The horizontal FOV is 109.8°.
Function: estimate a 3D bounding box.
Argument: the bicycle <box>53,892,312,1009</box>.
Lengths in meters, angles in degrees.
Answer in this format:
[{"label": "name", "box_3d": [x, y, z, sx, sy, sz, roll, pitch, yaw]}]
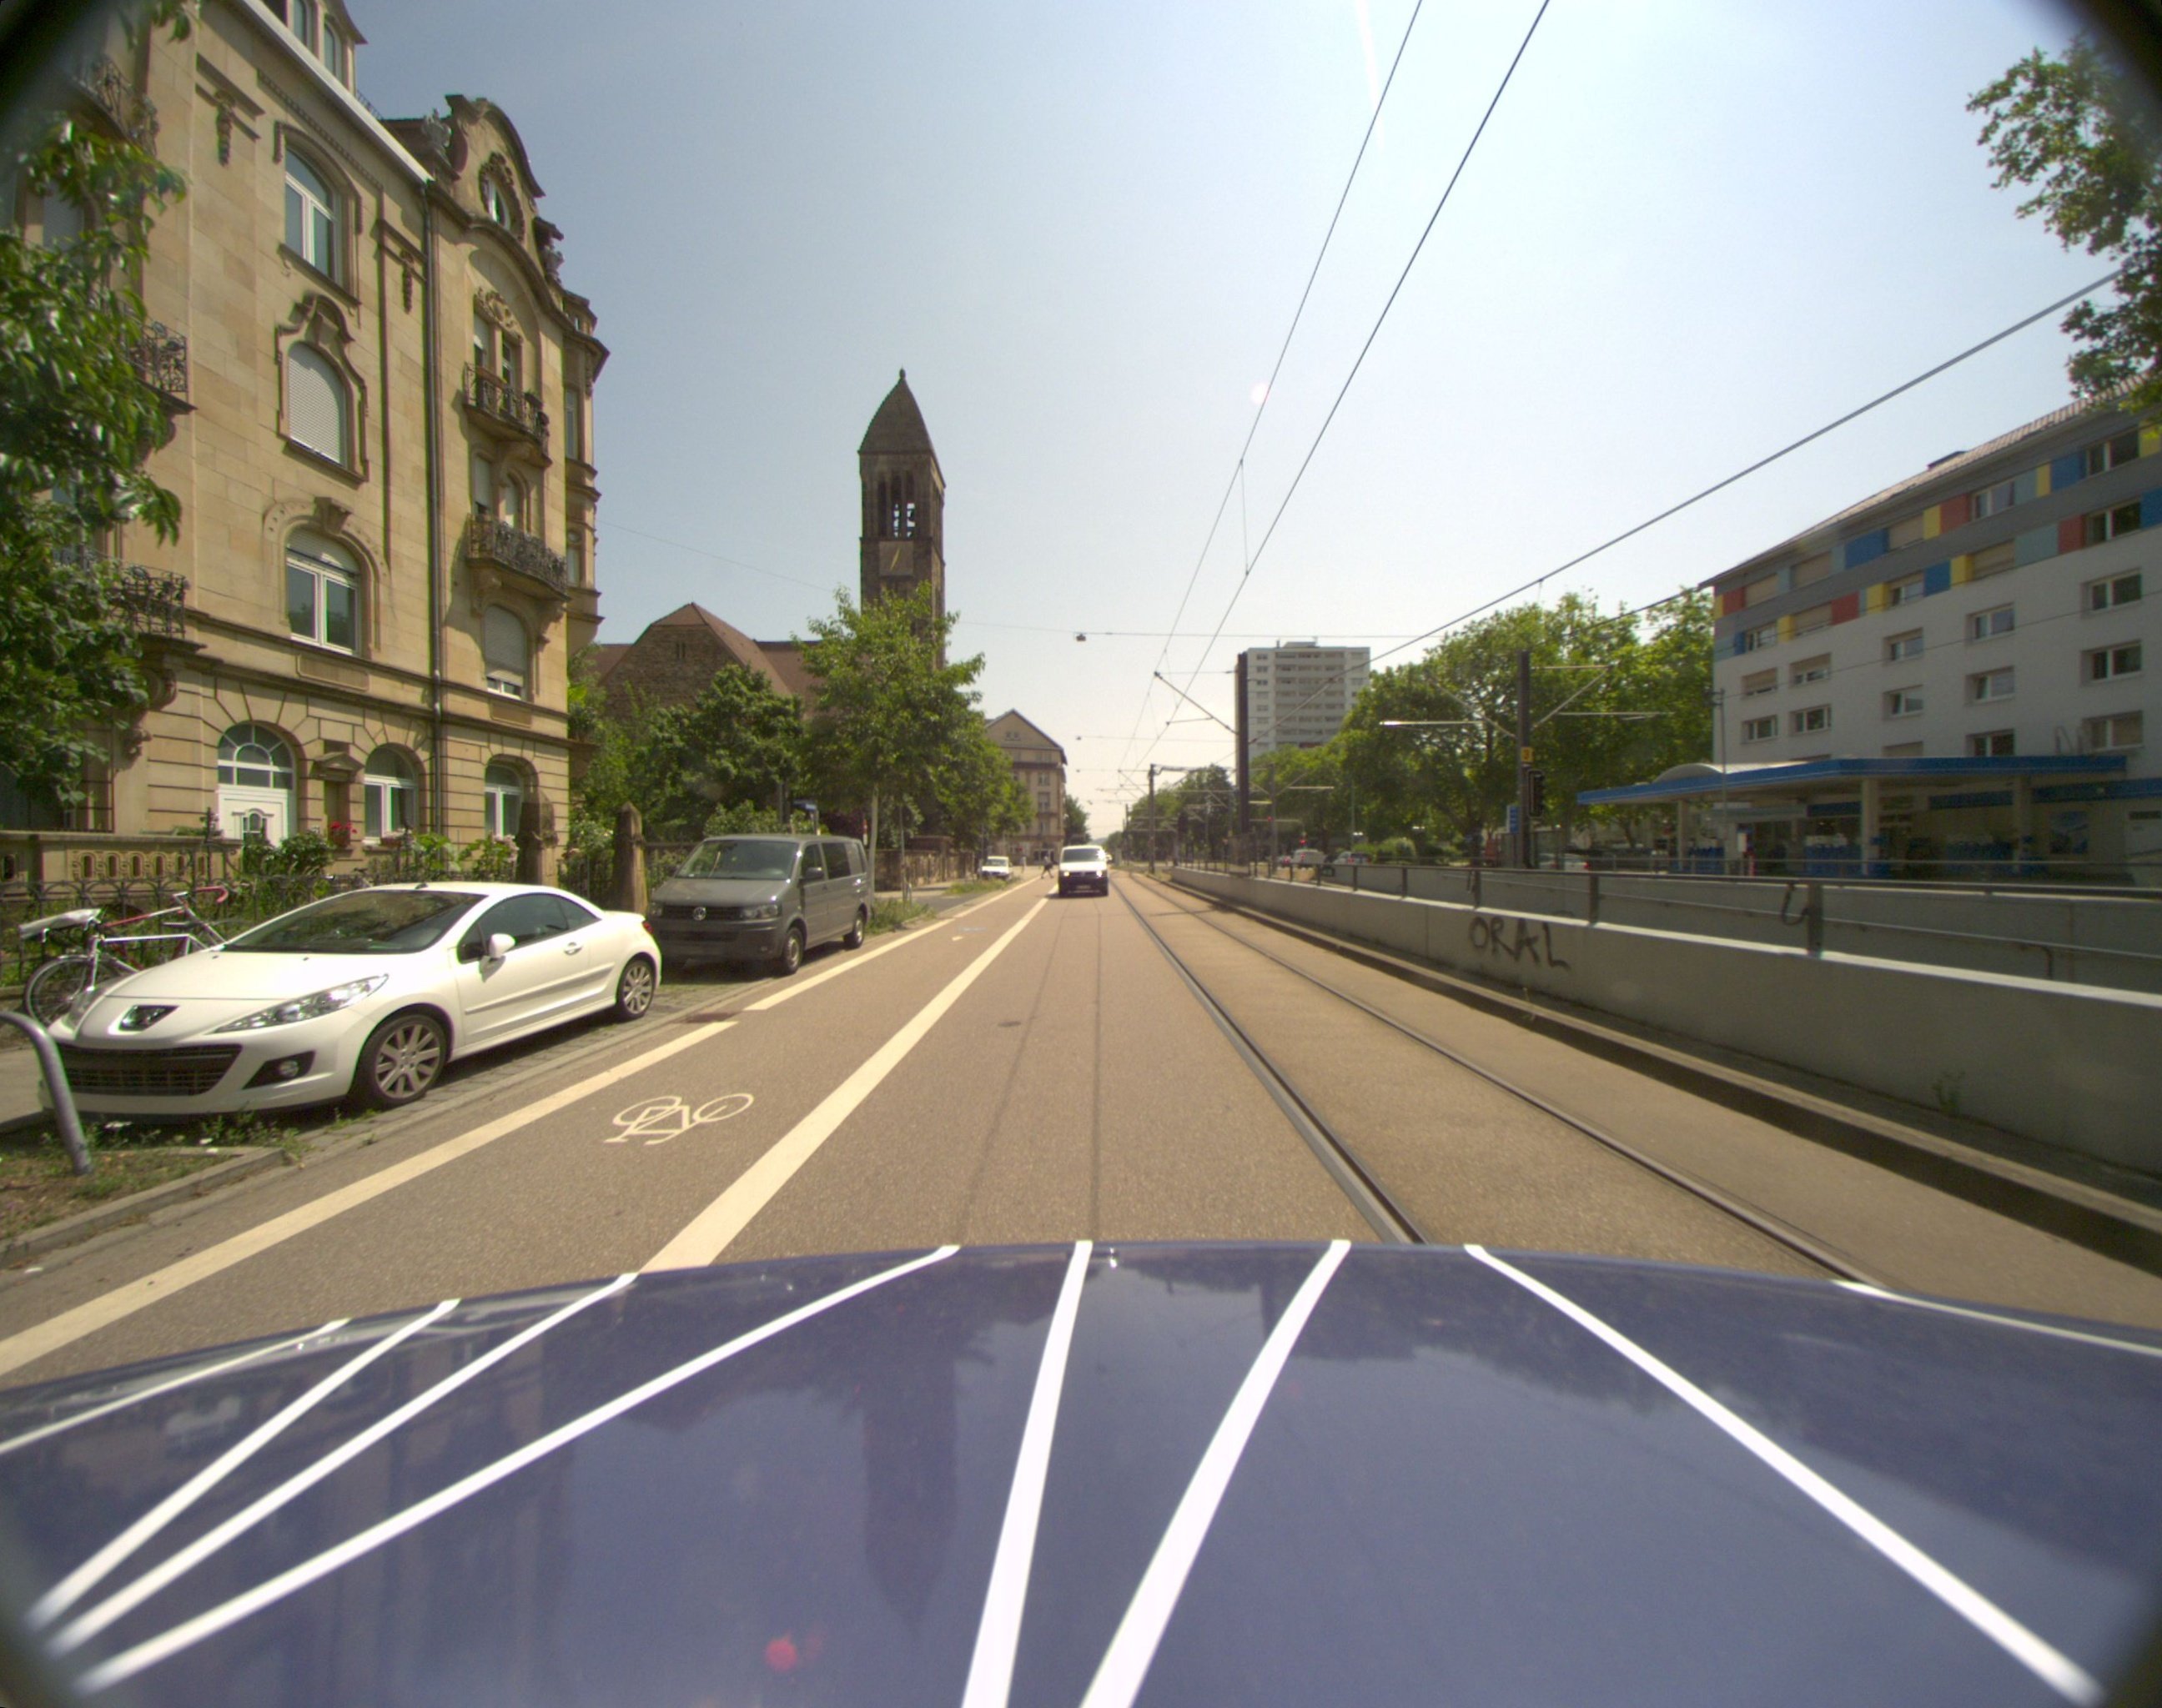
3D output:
[{"label": "bicycle", "box_3d": [-8.233, 0.840, 7.079, 0.441, 0.875, 1.635, -1, 0, 0]}]

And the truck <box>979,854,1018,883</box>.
[{"label": "truck", "box_3d": [-4.595, 0.758, 42.900, 1.794, 1.517, 4.464, -1, 0, -1]}]

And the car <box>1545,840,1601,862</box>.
[{"label": "car", "box_3d": [39.464, -0.221, 61.066, 1.998, 1.710, 4.000, -1, 0, 1]}]

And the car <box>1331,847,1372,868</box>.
[{"label": "car", "box_3d": [22.228, 0.274, 62.556, 1.851, 1.616, 4.602, 1, 0, 2]}]

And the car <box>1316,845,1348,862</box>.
[{"label": "car", "box_3d": [22.722, -0.052, 68.950, 1.600, 1.412, 3.782, 1, 0, 0]}]

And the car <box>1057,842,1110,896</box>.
[{"label": "car", "box_3d": [0.190, 0.542, 30.131, 1.852, 1.942, 4.944, -1, 0, 2]}]

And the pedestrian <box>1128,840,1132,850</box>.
[{"label": "pedestrian", "box_3d": [8.606, -1.549, 133.679, 0.679, 1.695, 0.554, -1, 1, 3]}]

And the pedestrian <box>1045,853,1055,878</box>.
[{"label": "pedestrian", "box_3d": [-2.133, 0.777, 51.916, 0.622, 1.744, 0.678, -1, 1, 2]}]

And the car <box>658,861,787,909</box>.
[{"label": "car", "box_3d": [-11.746, 1.006, 25.019, 3.460, 1.482, 1.555, -1, 1, 3]}]

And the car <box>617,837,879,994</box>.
[{"label": "car", "box_3d": [-4.780, 0.761, 11.840, 1.883, 1.936, 4.836, 1, 0, 1]}]

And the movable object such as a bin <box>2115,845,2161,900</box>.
[{"label": "movable object such as a bin", "box_3d": [28.359, 0.467, 19.449, 1.787, 1.377, 1.469, -1, 0, -1]}]

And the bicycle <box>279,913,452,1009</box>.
[{"label": "bicycle", "box_3d": [-8.273, 1.201, 8.882, 0.441, 0.875, 1.635, -1, 0, 0]}]

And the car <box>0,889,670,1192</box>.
[{"label": "car", "box_3d": [-5.173, 1.074, 5.991, 1.615, 1.397, 4.000, -1, 0, 1]}]

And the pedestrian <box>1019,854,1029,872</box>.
[{"label": "pedestrian", "box_3d": [-5.188, 0.843, 69.230, 0.795, 1.641, 0.967, -1, 1, 2]}]

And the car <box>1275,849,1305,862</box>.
[{"label": "car", "box_3d": [22.697, 0.218, 82.699, 1.952, 1.351, 4.628, 0, 0, -1]}]

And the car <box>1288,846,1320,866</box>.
[{"label": "car", "box_3d": [22.422, 0.171, 76.617, 1.781, 1.979, 4.804, 0, 0, -1]}]

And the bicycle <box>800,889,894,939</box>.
[{"label": "bicycle", "box_3d": [-5.049, 1.287, 16.490, 1.887, 0.986, 0.470, -1, 1, -9]}]

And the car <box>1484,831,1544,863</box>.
[{"label": "car", "box_3d": [34.521, -0.602, 60.779, 1.851, 2.379, 4.980, -3, 1, 0]}]

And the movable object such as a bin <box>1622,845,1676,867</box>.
[{"label": "movable object such as a bin", "box_3d": [44.595, 0.147, 59.717, 2.724, 1.601, 1.986, -1, 0, 0]}]

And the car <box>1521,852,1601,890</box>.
[{"label": "car", "box_3d": [21.363, 0.706, 34.002, 1.547, 1.552, 3.881, -1, 0, 8]}]

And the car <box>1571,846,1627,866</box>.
[{"label": "car", "box_3d": [41.877, 0.143, 61.560, 1.867, 1.517, 4.000, -1, 0, 1]}]
